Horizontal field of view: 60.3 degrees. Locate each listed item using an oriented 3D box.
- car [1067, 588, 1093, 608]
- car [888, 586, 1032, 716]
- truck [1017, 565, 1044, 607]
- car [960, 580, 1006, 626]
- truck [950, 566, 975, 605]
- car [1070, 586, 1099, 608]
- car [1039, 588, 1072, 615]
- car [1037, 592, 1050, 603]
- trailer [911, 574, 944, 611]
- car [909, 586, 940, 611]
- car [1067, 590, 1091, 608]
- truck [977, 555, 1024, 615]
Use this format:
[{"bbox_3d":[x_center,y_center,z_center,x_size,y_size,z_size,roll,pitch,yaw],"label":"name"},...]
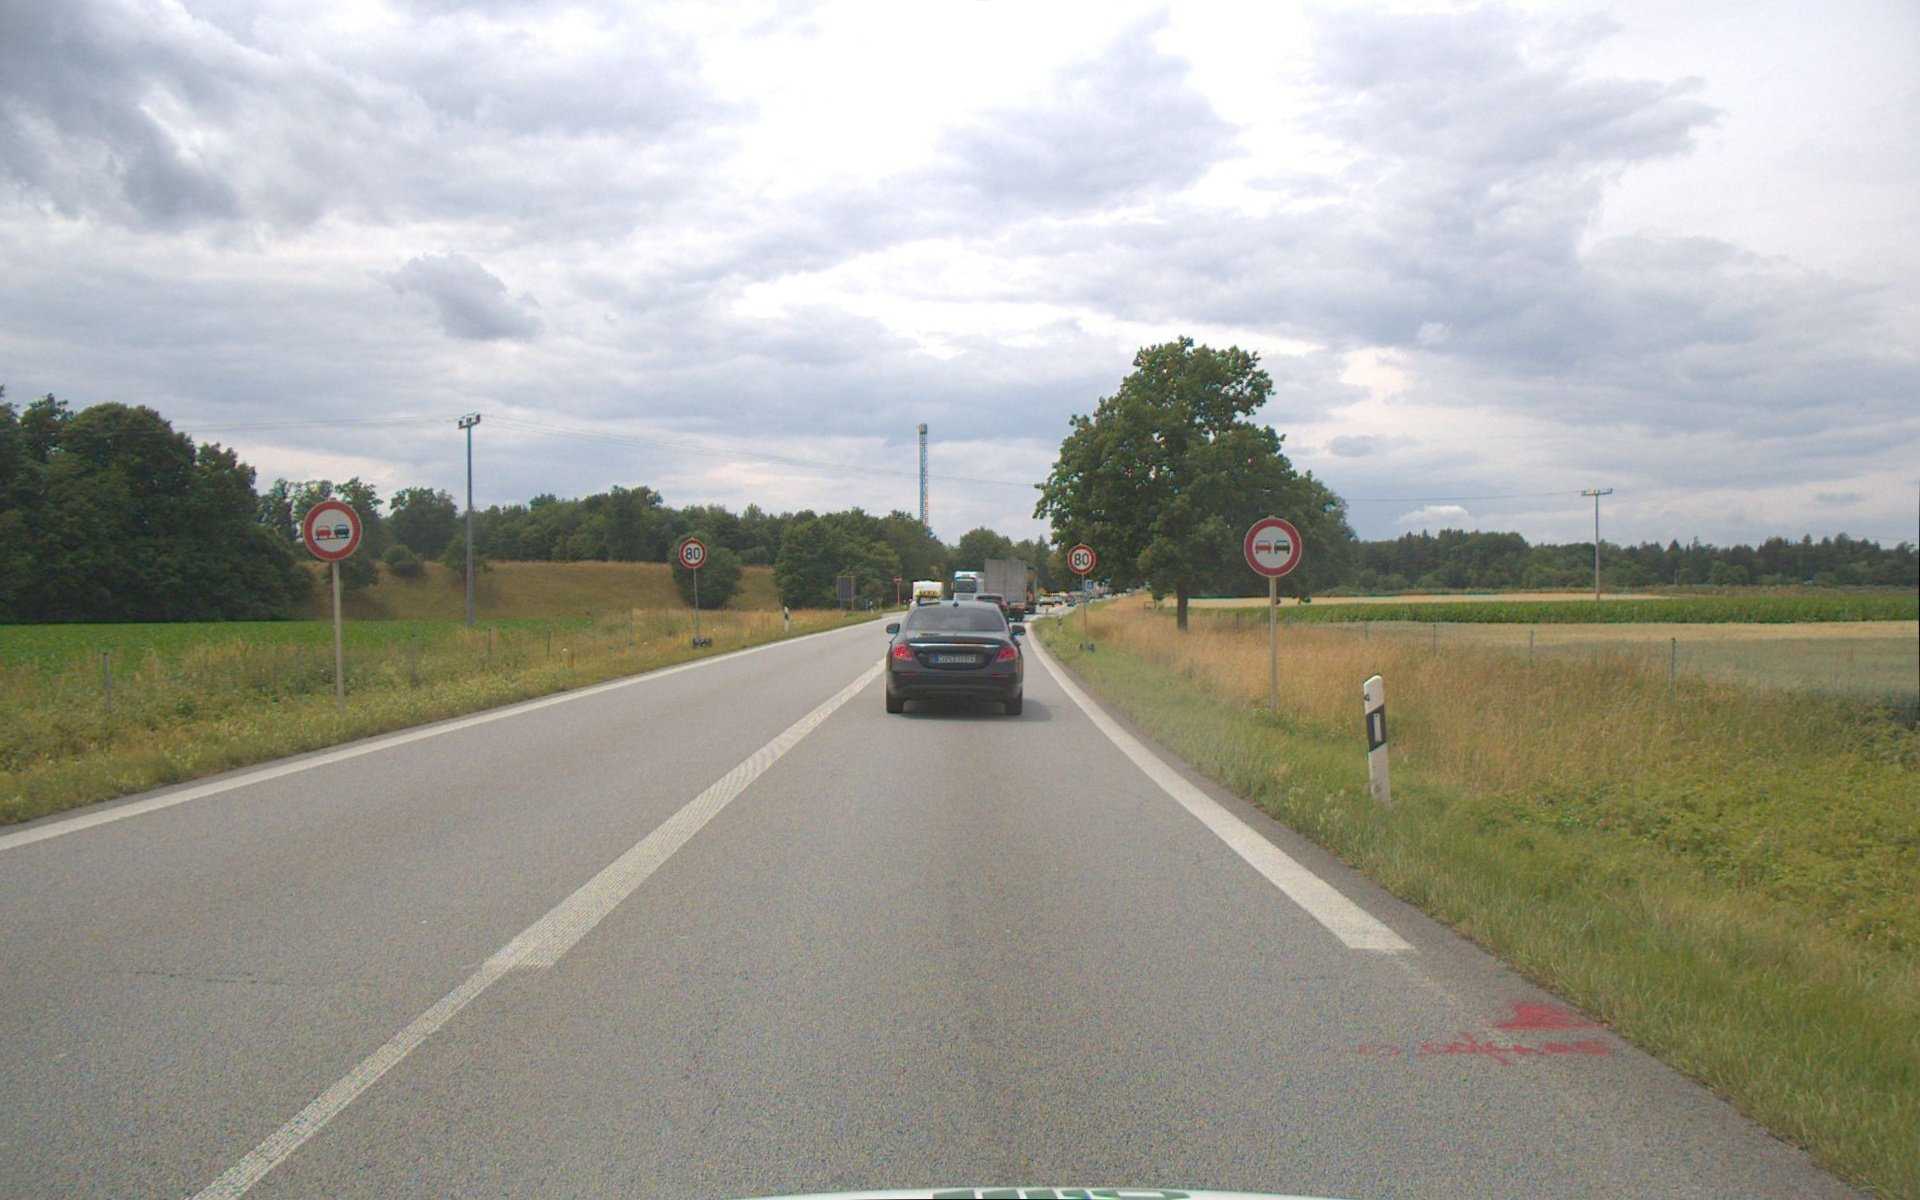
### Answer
[{"bbox_3d":[10.439,-0.148,144.129,1.760,1.691,3.998,1,0,-2],"label":"car"},{"bbox_3d":[-0.072,0.648,22.683,1.760,1.587,3.998,1,0,-2],"label":"car"},{"bbox_3d":[6.117,-1.174,144.214,1.953,3.587,4.590,1,0,-2],"label":"truck"},{"bbox_3d":[1.063,0.142,78.305,1.953,2.049,3.998,1,0,-2],"label":"car"},{"bbox_3d":[0.322,-1.573,175.209,2.438,4.065,5.206,0,0,2],"label":"truck"},{"bbox_3d":[9.711,-0.227,129.153,1.760,1.691,3.998,1,0,-2],"label":"car"},{"bbox_3d":[6.288,0.094,109.618,1.760,1.691,3.998,1,0,-2],"label":"car"},{"bbox_3d":[10.796,-0.315,213.346,1.615,1.420,3.707,1,0,2],"label":"car"},{"bbox_3d":[-2.320,-0.507,121.330,2.137,2.620,6.244,1,0,1],"label":"trailer"},{"bbox_3d":[-2.502,-0.078,116.038,1.965,1.686,4.327,1,0,1],"label":"car"},{"bbox_3d":[11.320,-0.067,157.548,1.760,1.691,3.998,1,0,-2],"label":"car"},{"bbox_3d":[2.568,-0.916,103.105,2.532,3.586,4.815,1,0,5],"label":"truck"}]
